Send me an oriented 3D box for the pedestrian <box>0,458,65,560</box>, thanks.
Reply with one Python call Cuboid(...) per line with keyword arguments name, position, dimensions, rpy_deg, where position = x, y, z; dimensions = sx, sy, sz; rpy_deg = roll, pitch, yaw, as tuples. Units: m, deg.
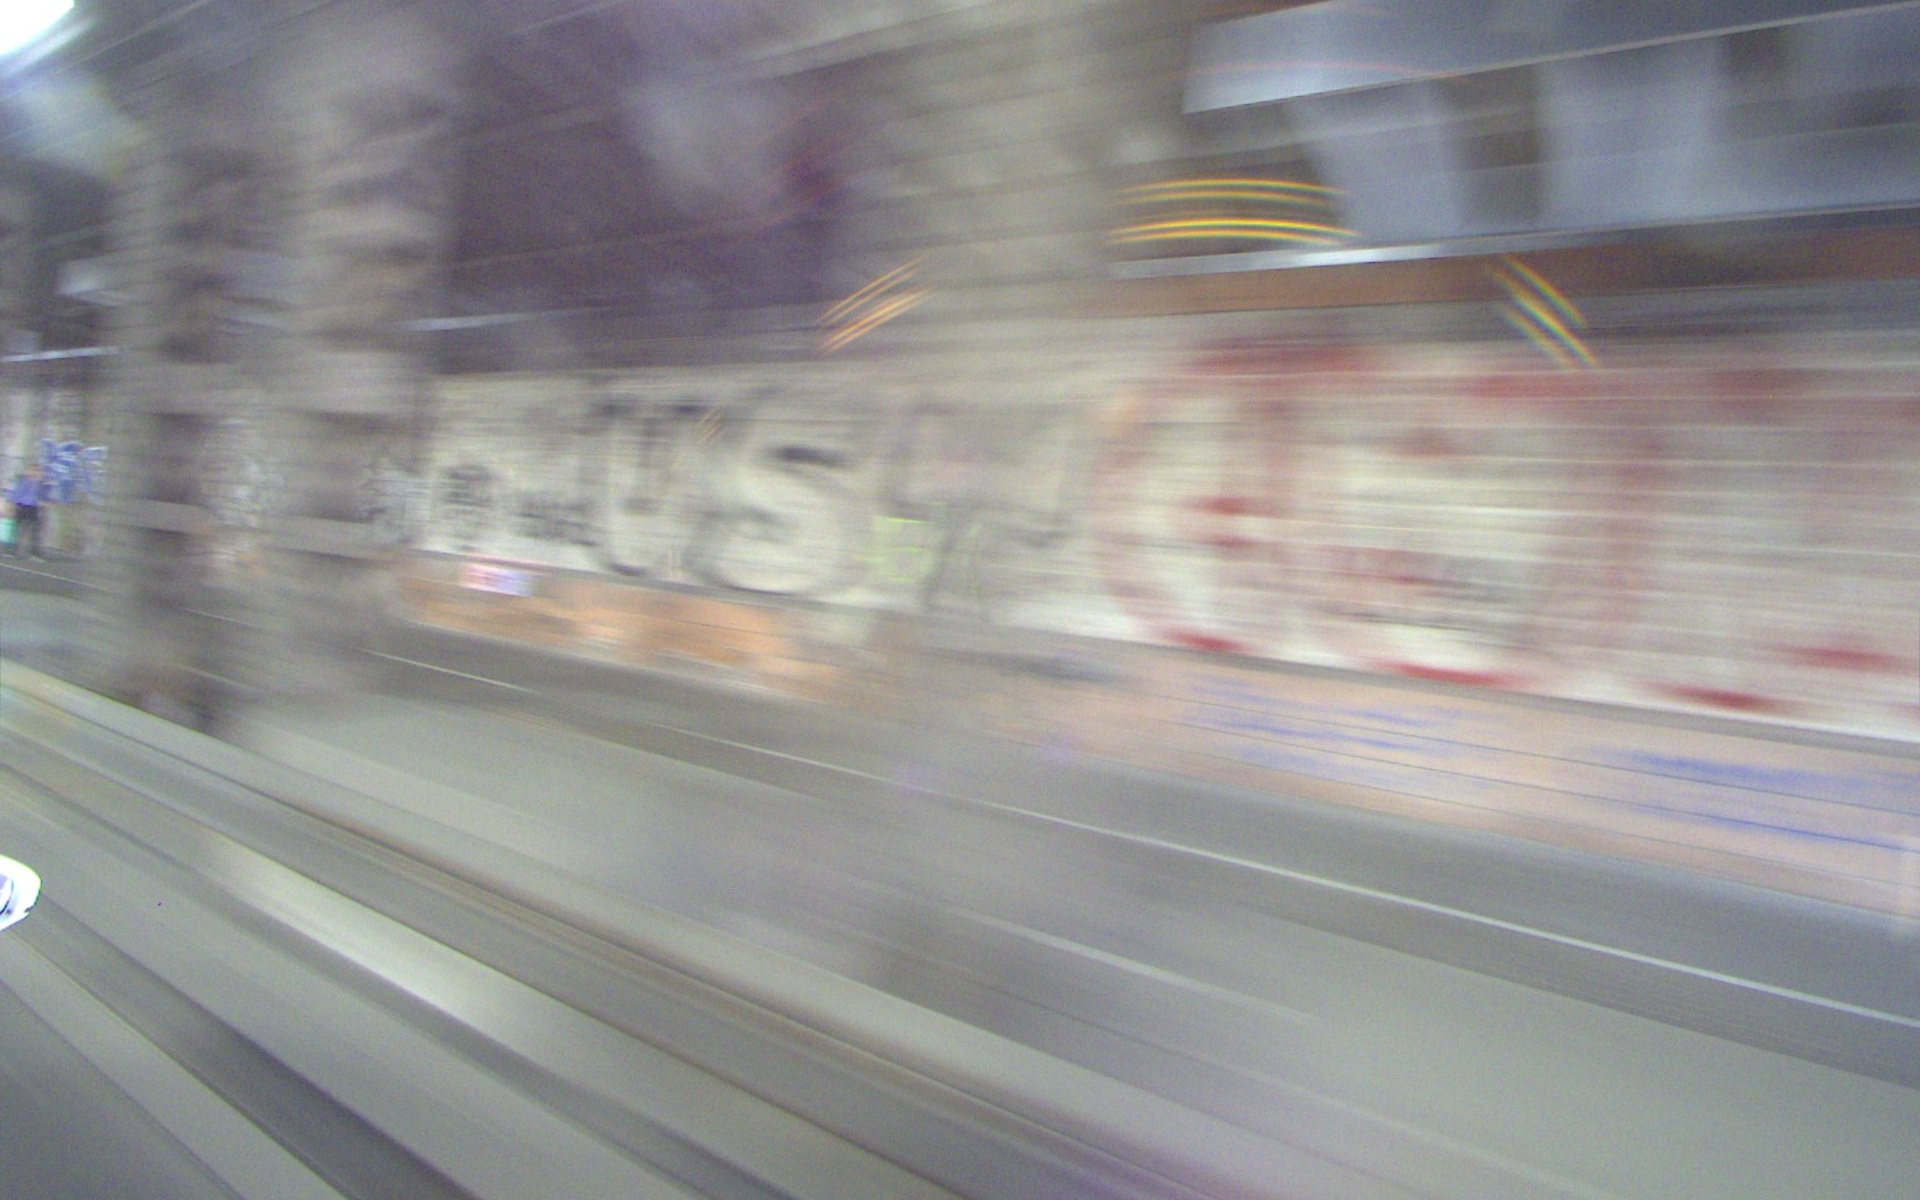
Cuboid(name="pedestrian", position=(-17.020, -1.659, 18.258), dimensions=(1.093, 1.724, 0.800), rpy_deg=(7, 2, 31))
